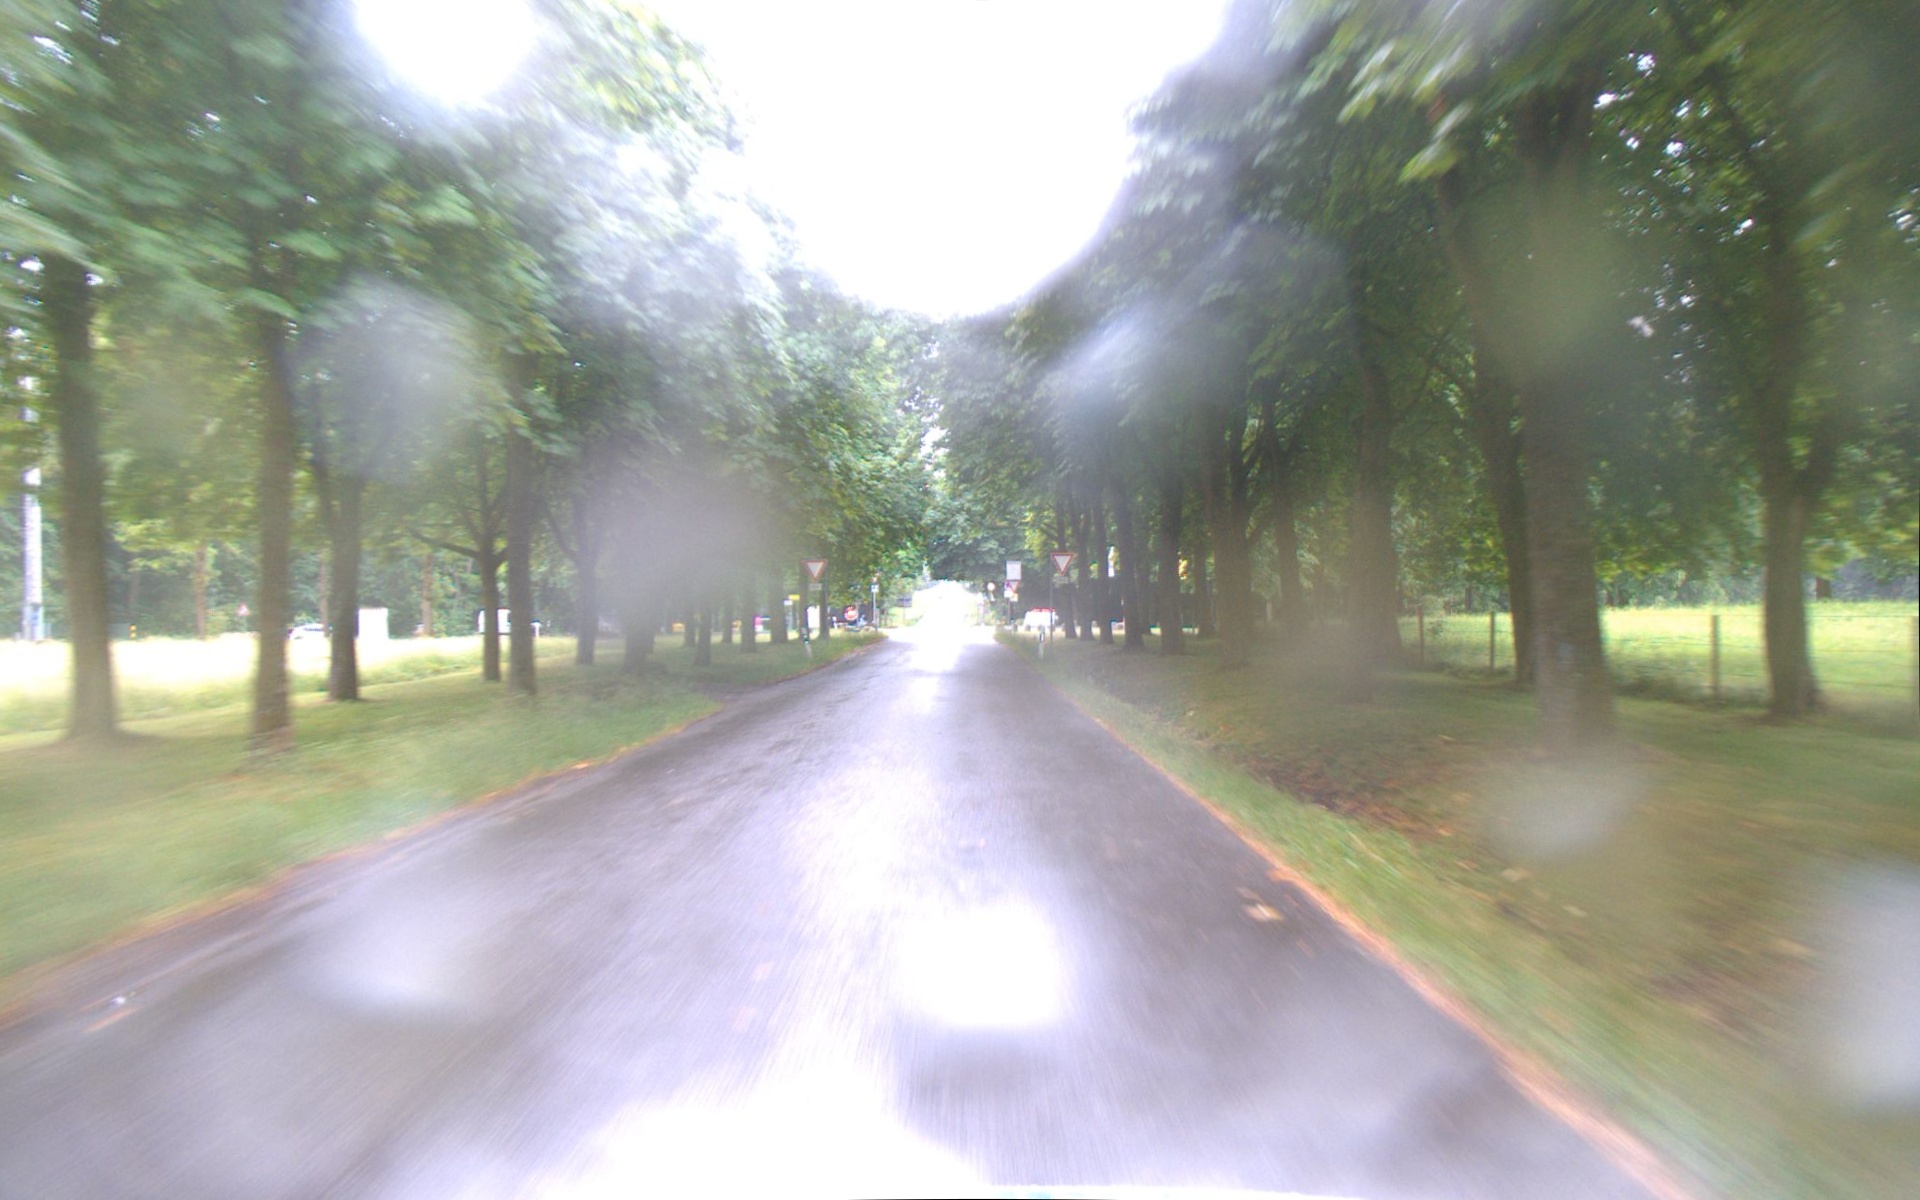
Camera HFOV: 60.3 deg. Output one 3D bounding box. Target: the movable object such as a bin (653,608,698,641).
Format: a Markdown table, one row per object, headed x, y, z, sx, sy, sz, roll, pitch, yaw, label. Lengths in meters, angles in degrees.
| x | y | z | sx | sy | sz | roll | pitch | yaw | label |
| --- | --- | --- | --- | --- | --- | --- | --- | --- | --- |
| -29.677 | 2.589 | 172.500 | 4.572 | 3.352 | 3.902 | -1 | -1 | -11 | movable object such as a bin |

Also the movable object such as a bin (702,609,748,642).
| x | y | z | sx | sy | sz | roll | pitch | yaw | label |
| --- | --- | --- | --- | --- | --- | --- | --- | --- | --- |
| -24.771 | 2.720 | 174.178 | 4.500 | 3.352 | 3.656 | -1 | -1 | -11 | movable object such as a bin |

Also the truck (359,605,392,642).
| x | y | z | sx | sy | sz | roll | pitch | yaw | label |
| --- | --- | --- | --- | --- | --- | --- | --- | --- | --- |
| -39.532 | 1.593 | 111.925 | 1.838 | 2.485 | 3.336 | -1 | -1 | -15 | truck |

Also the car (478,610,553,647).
| x | y | z | sx | sy | sz | roll | pitch | yaw | label |
| --- | --- | --- | --- | --- | --- | --- | --- | --- | --- |
| -31.774 | 2.057 | 118.201 | 5.875 | 2.450 | 2.379 | -3 | -3 | 41 | car |
